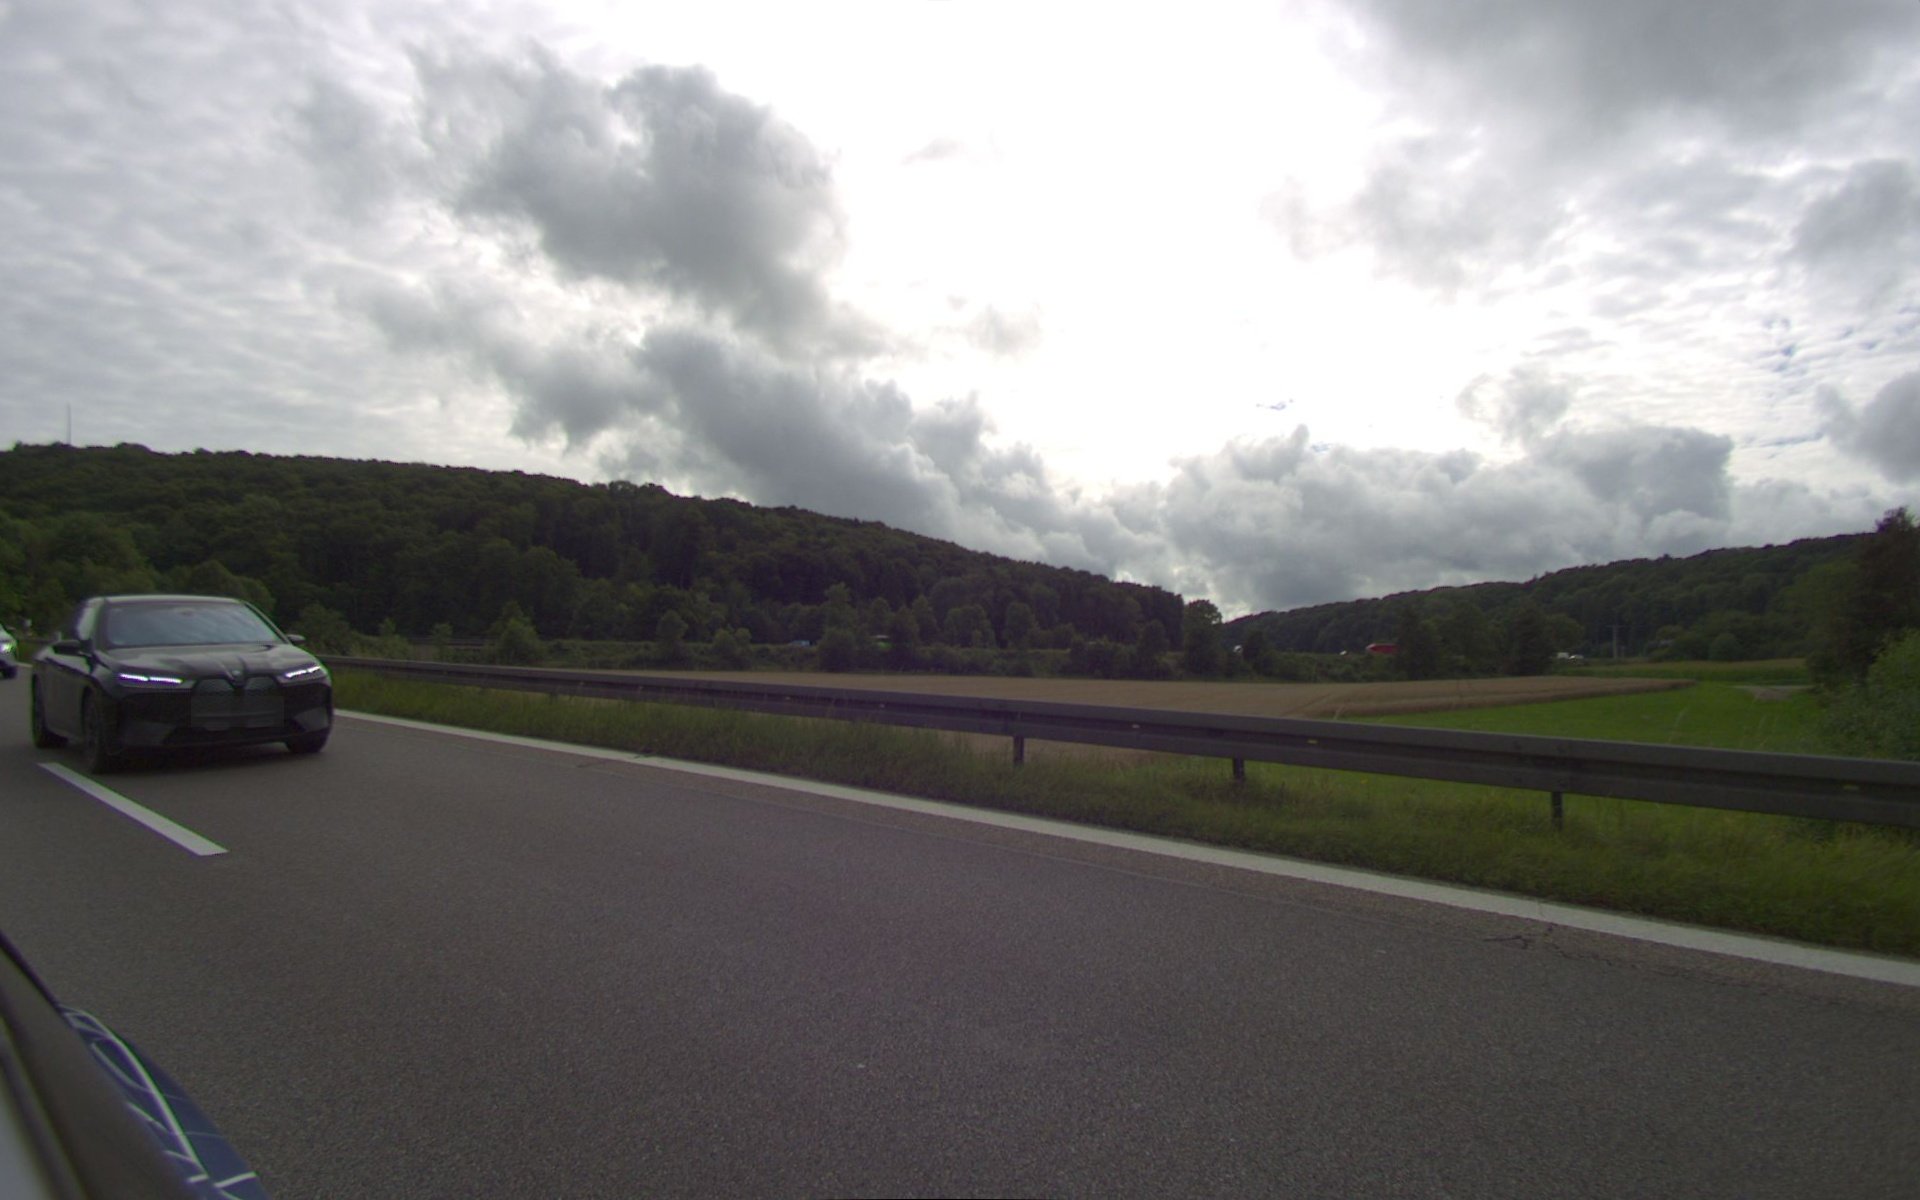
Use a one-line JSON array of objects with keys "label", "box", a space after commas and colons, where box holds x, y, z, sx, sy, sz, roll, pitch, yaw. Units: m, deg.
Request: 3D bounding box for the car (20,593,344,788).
[{"label": "car", "box": [-8.527, 0.818, 10.952, 4.413, 1.678, 1.973, -1, -1, 41]}]

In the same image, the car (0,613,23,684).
[{"label": "car", "box": [-24.822, 1.180, 24.849, 4.409, 1.678, 1.974, -2, -3, 38]}]
